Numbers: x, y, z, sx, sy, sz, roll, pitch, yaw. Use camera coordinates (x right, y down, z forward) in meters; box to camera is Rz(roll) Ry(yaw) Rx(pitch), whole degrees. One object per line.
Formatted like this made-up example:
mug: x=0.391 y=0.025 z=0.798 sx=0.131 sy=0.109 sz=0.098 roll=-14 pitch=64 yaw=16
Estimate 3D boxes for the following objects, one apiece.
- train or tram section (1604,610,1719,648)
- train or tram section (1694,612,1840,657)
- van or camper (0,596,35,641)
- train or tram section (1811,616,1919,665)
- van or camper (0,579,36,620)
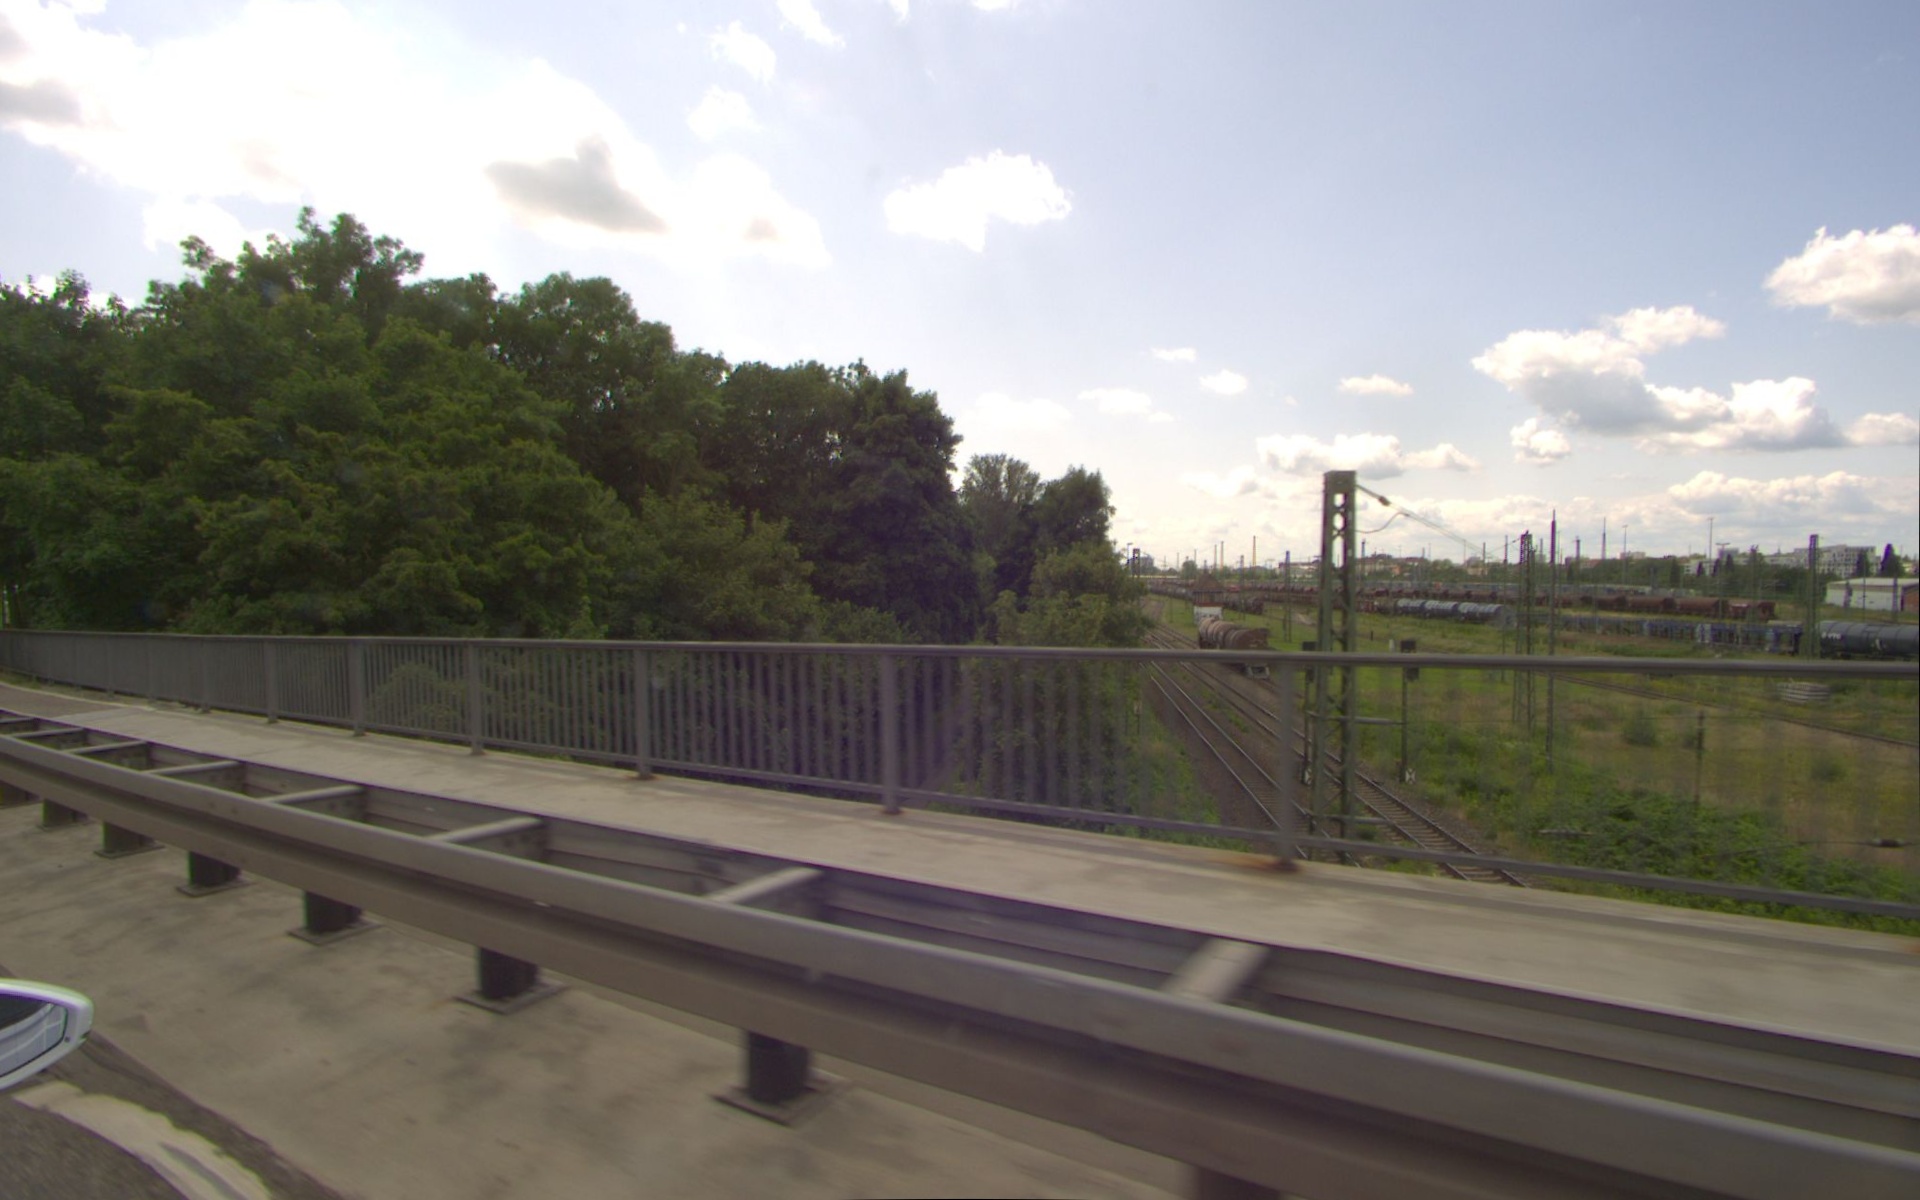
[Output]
train or tram section: x=91.137 y=3.593 z=130.750 sx=3.150 sy=4.208 sz=15.960 roll=-3 pitch=1 yaw=-3
train or tram section: x=91.910 y=3.789 z=114.811 sx=3.150 sy=4.208 sz=15.960 roll=-3 pitch=1 yaw=-3
van or camper: x=-58.204 y=1.096 z=60.929 sx=1.972 sy=2.624 sz=4.067 roll=1 pitch=-1 yaw=-31
train or tram section: x=92.554 y=3.982 z=98.815 sx=3.150 sy=4.208 sz=15.960 roll=-3 pitch=1 yaw=-2
van or camper: x=-89.074 y=-0.086 z=93.501 sx=2.877 sy=3.662 sz=8.073 roll=2 pitch=-1 yaw=-35
